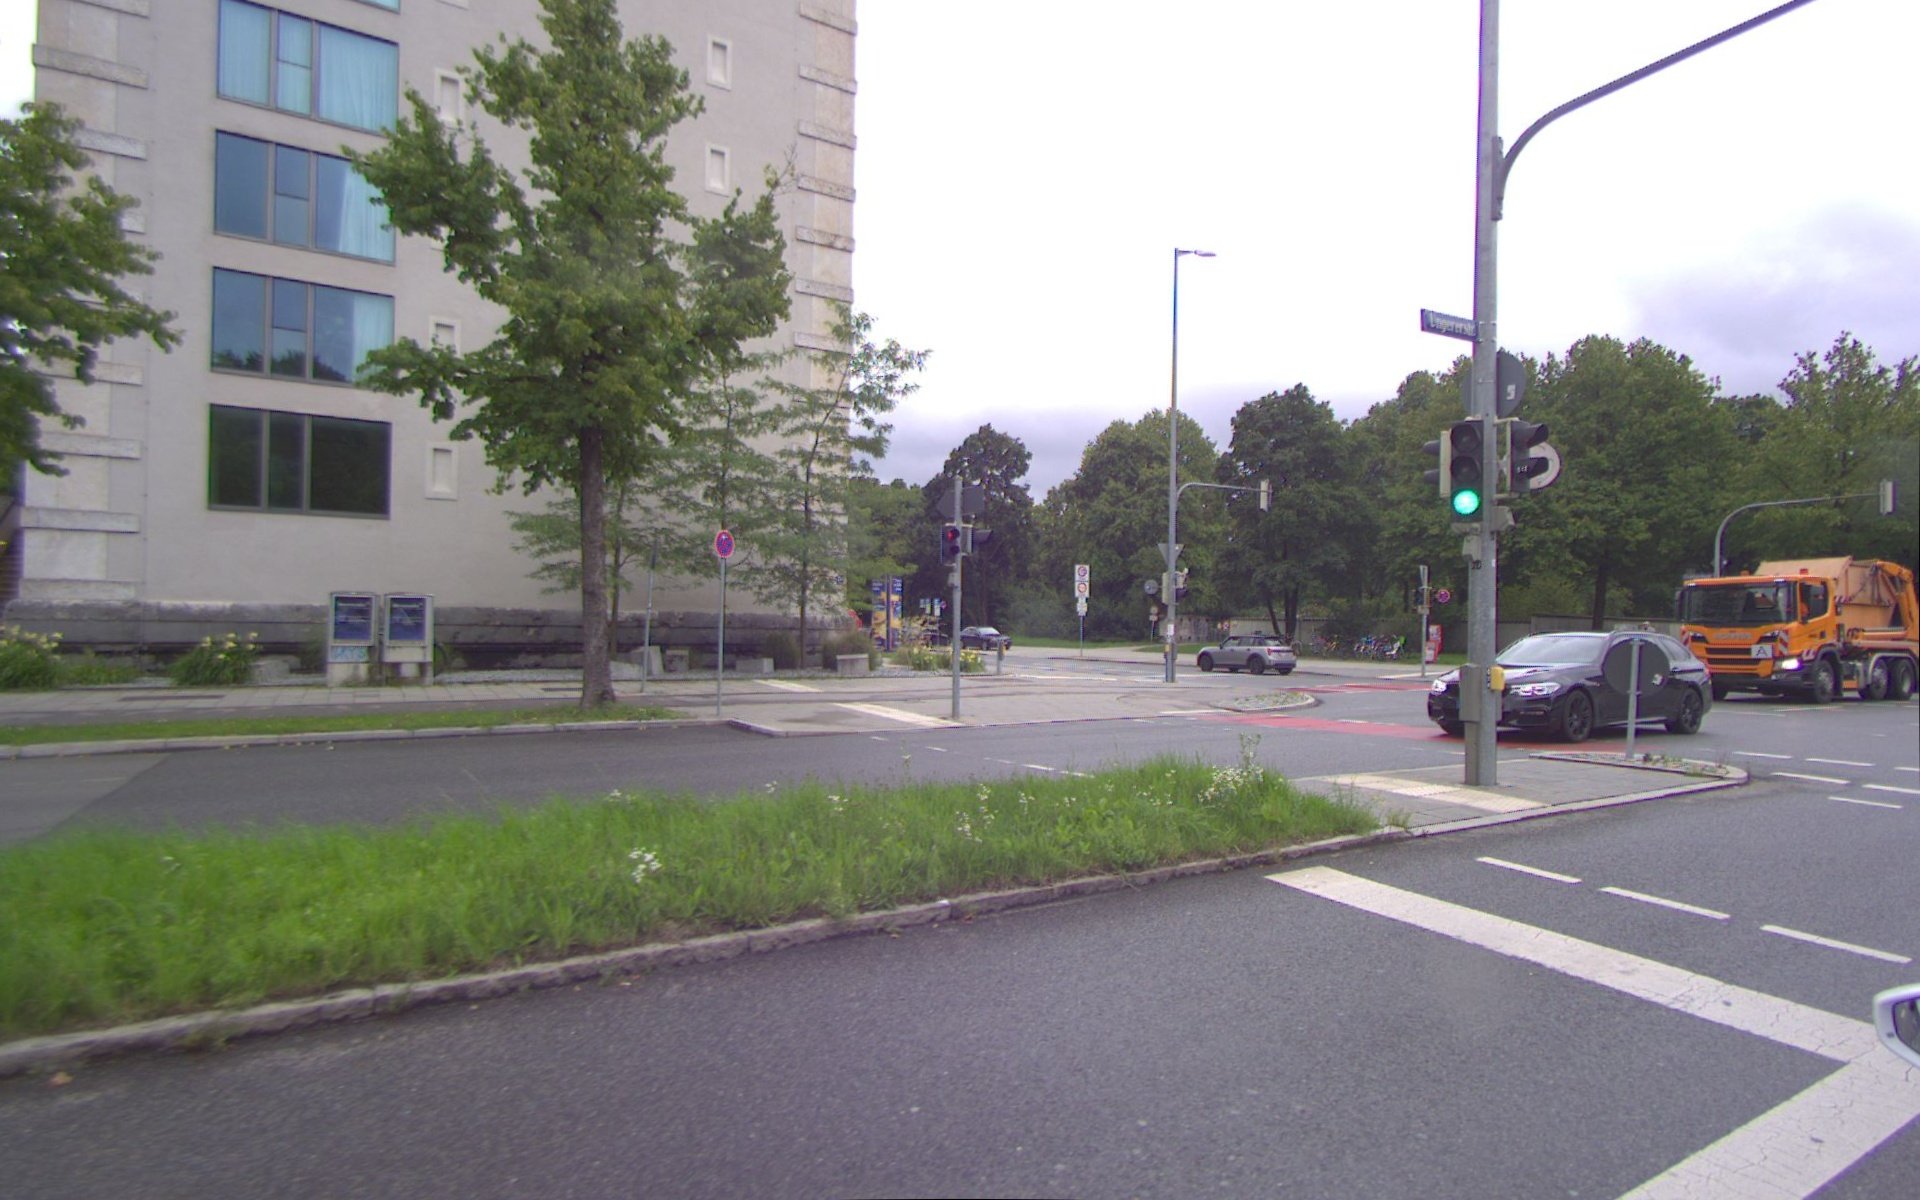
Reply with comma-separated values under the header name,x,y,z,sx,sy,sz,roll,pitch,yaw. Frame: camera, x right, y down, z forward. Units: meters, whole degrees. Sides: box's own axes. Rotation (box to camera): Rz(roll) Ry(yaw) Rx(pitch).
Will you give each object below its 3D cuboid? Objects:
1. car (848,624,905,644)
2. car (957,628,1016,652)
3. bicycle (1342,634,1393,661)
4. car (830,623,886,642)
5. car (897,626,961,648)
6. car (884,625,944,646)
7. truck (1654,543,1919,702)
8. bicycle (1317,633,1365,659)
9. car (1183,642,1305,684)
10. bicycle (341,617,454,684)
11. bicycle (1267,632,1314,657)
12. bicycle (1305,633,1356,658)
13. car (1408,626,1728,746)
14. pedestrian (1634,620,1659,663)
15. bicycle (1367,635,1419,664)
name,x,y,z,sx,sy,sz,roll,pitch,yaw
car,-6.485,2.629,78.258,1.901,1.435,4.189,0,-1,44
car,1.613,2.484,62.903,1.822,1.435,4.183,1,-1,-29
bicycle,18.618,2.162,45.858,2.468,1.202,0.831,2,-1,-31
car,-8.140,2.577,80.523,1.901,1.435,4.189,0,-1,44
car,-2.131,2.576,69.369,4.183,1.435,1.904,2,-1,-41
car,-3.343,2.597,73.419,1.901,1.435,4.189,0,-1,44
truck,20.357,0.586,24.398,7.175,3.400,2.769,2,-1,-28
bicycle,18.357,2.225,48.327,2.468,1.202,0.831,2,-1,-31
car,10.663,2.348,38.049,1.911,1.481,4.329,1,-3,-31
bicycle,-10.522,0.942,18.831,1.805,1.197,0.542,1,-1,-31
bicycle,16.477,2.238,50.038,2.468,1.202,0.831,2,-1,-31
bicycle,18.564,2.253,50.287,2.851,1.202,0.831,2,-1,-31
car,8.824,1.158,14.462,4.843,1.481,1.917,2,-3,-31
pedestrian,28.856,1.732,42.220,0.512,1.763,0.703,1,-1,-34
bicycle,19.274,2.195,44.690,2.468,1.202,0.831,2,-1,-31
